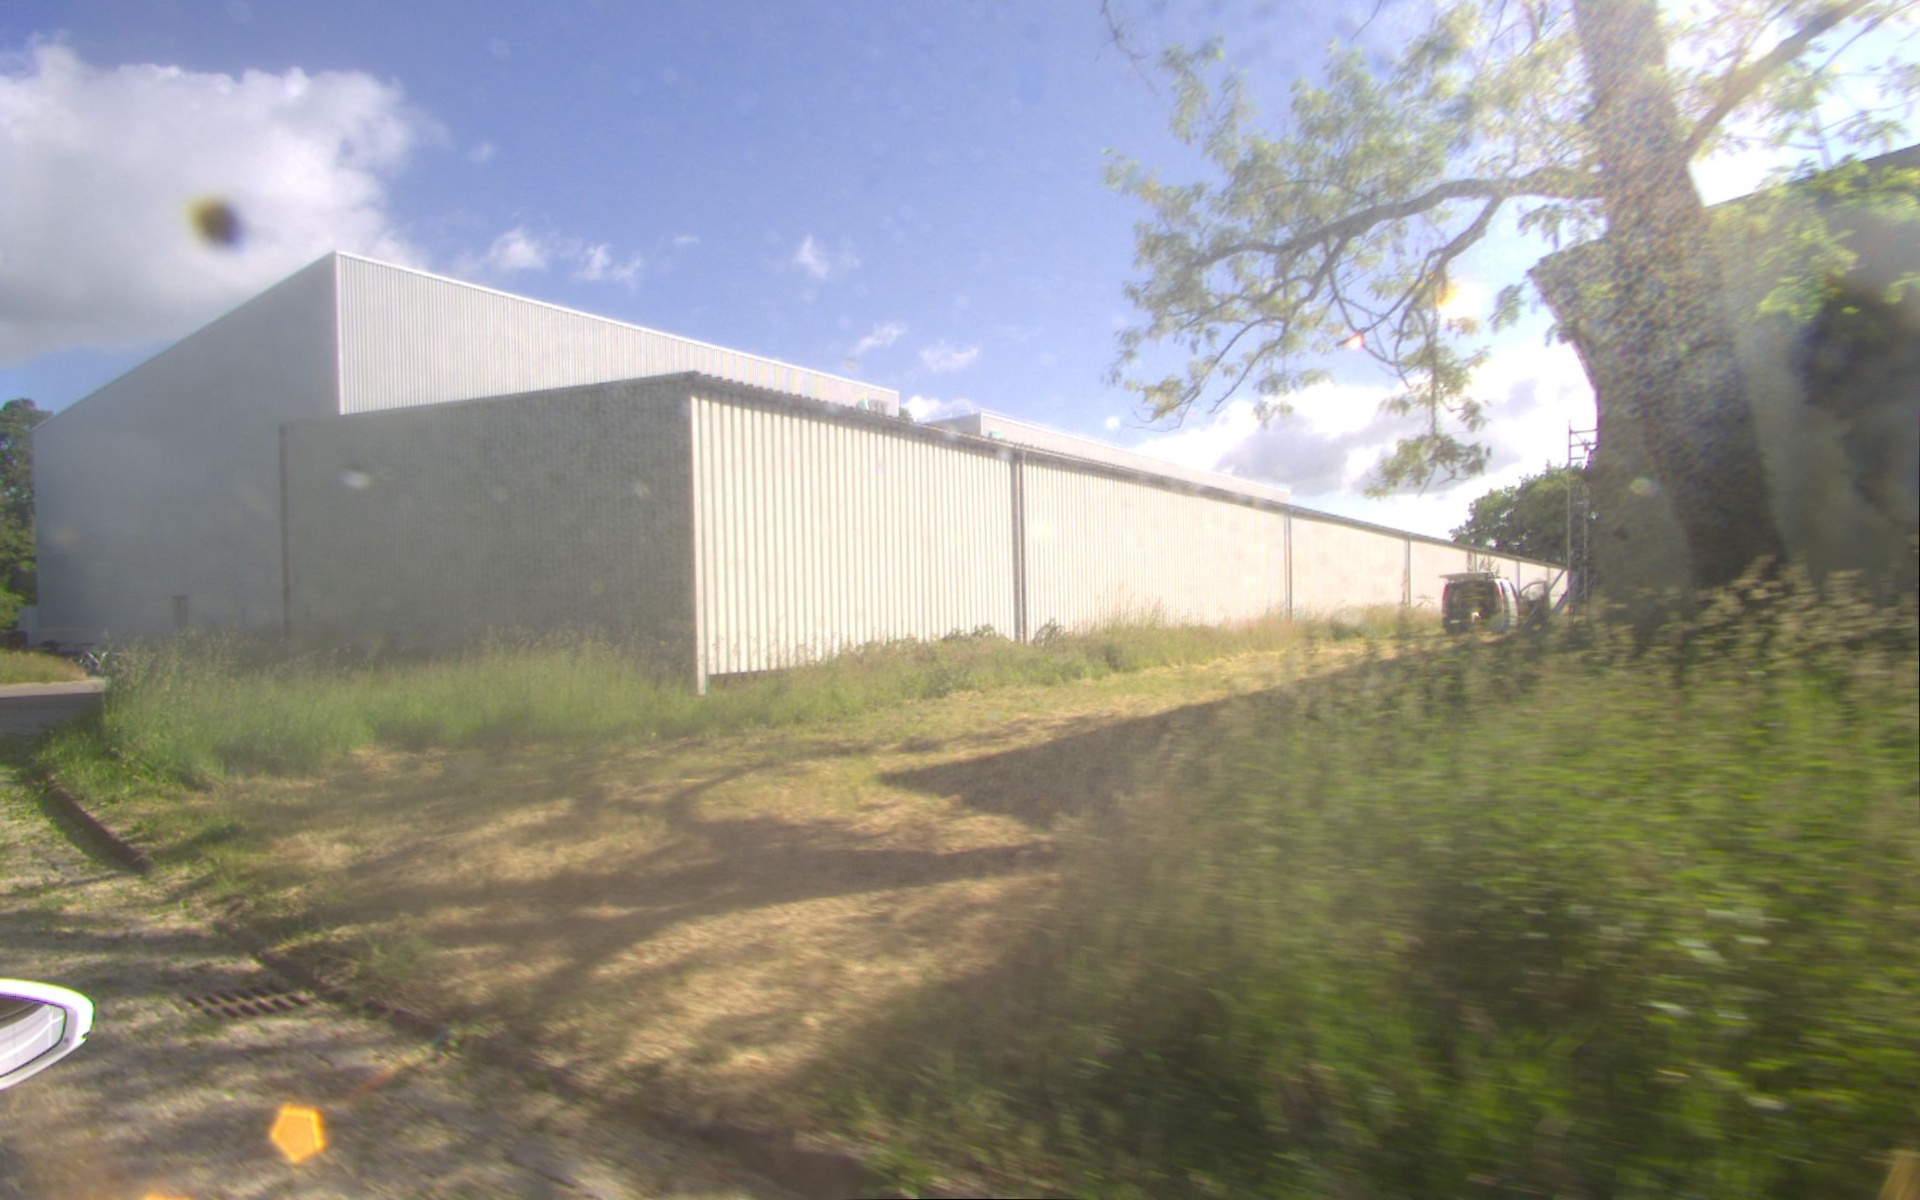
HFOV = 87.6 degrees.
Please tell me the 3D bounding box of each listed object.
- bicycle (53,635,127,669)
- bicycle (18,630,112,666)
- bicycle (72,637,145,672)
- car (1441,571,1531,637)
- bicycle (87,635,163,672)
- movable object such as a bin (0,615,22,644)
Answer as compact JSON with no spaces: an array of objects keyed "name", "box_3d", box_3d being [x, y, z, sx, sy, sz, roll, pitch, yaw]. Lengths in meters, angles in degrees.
[{"name":"bicycle","box_3d":[-30.367,1.812,34.984,0.519,1.109,1.881,-2,-1,36]},{"name":"bicycle","box_3d":[-34.538,1.820,38.674,1.128,1.283,2.617,-1,-1,42]},{"name":"bicycle","box_3d":[-28.399,1.815,33.409,0.518,1.096,1.784,-1,0,39]},{"name":"car","box_3d":[17.373,0.151,33.008,1.975,2.040,3.972,-1,-1,37]},{"name":"bicycle","box_3d":[-26.461,1.686,31.764,0.453,1.076,1.795,-1,0,32]},{"name":"movable object such as a bin","box_3d":[-67.200,2.060,70.642,1.113,2.040,1.411,-1,0,42]}]
